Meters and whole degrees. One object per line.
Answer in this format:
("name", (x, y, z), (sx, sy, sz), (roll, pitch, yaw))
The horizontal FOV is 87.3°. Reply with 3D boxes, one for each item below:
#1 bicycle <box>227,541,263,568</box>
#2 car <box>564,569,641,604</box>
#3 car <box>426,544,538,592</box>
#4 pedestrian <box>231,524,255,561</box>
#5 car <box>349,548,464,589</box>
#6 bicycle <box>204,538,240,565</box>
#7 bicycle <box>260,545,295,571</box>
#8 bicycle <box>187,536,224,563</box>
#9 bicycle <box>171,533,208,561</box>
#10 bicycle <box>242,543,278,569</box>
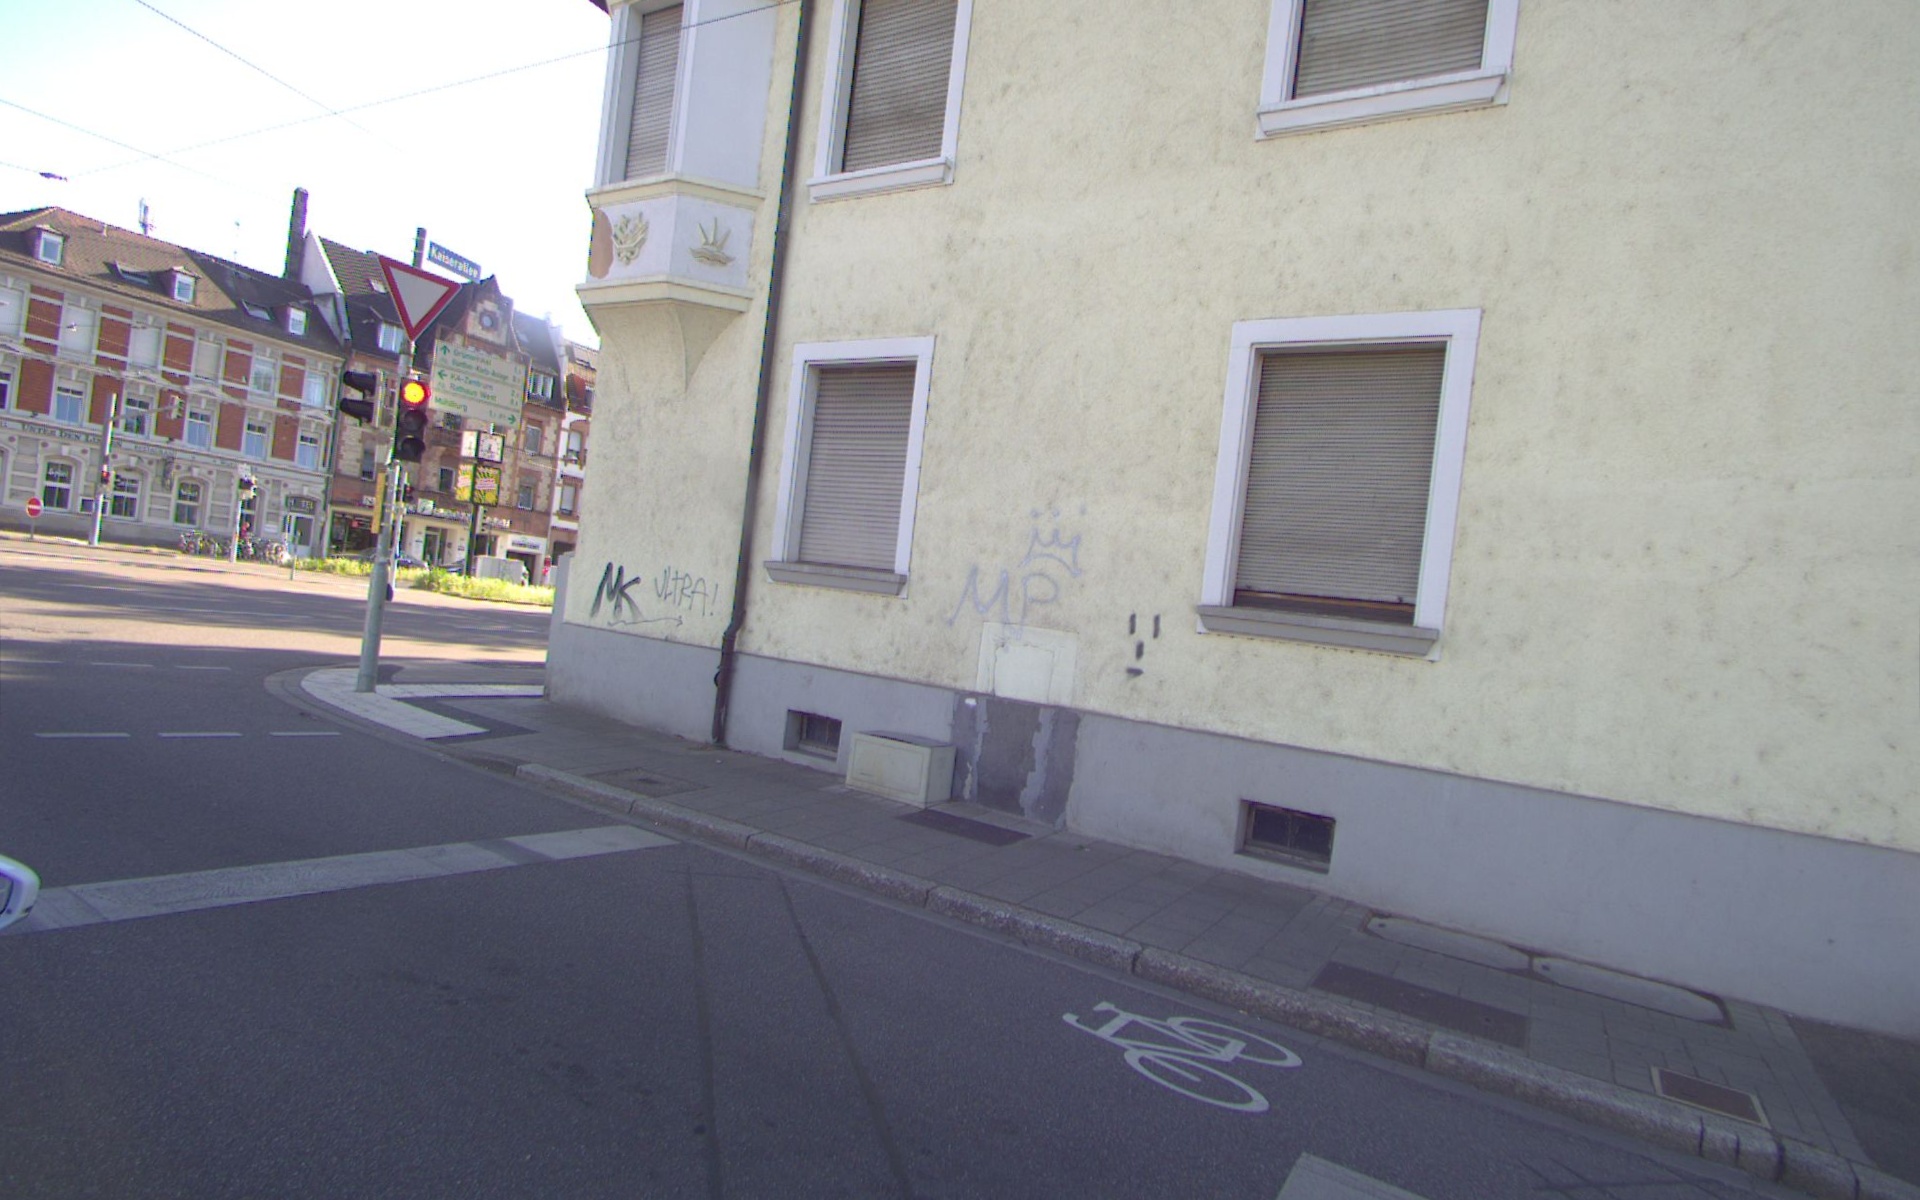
("bicycle", (-33.652, -2.152, 47.336), (1.614, 1.064, 0.606), (7, 0, 27))
("car", (-23.126, -0.861, 65.304), (1.966, 1.674, 4.378), (7, -1, 29))
("car", (-23.290, -1.529, 49.199), (1.967, 1.692, 4.518), (7, -1, 31))
("pedestrian", (-35.800, -2.867, 50.209), (0.414, 1.773, 0.709), (7, 0, 33))
("car", (-27.082, -1.515, 49.379), (1.966, 1.356, 4.519), (7, -1, 30))
("bicycle", (-34.318, -2.263, 46.766), (1.614, 1.064, 0.606), (7, 0, 27))
("bicycle", (-32.984, -2.014, 48.584), (1.614, 1.064, 0.606), (7, 0, 27))
("bicycle", (-34.648, -2.330, 46.190), (1.614, 1.064, 0.606), (7, 0, 27))
("bicycle", (-34.948, -2.392, 45.608), (1.614, 1.064, 0.606), (7, 0, 27))
("bicycle", (-33.358, -2.089, 47.946), (1.614, 1.064, 0.606), (7, 0, 27))
